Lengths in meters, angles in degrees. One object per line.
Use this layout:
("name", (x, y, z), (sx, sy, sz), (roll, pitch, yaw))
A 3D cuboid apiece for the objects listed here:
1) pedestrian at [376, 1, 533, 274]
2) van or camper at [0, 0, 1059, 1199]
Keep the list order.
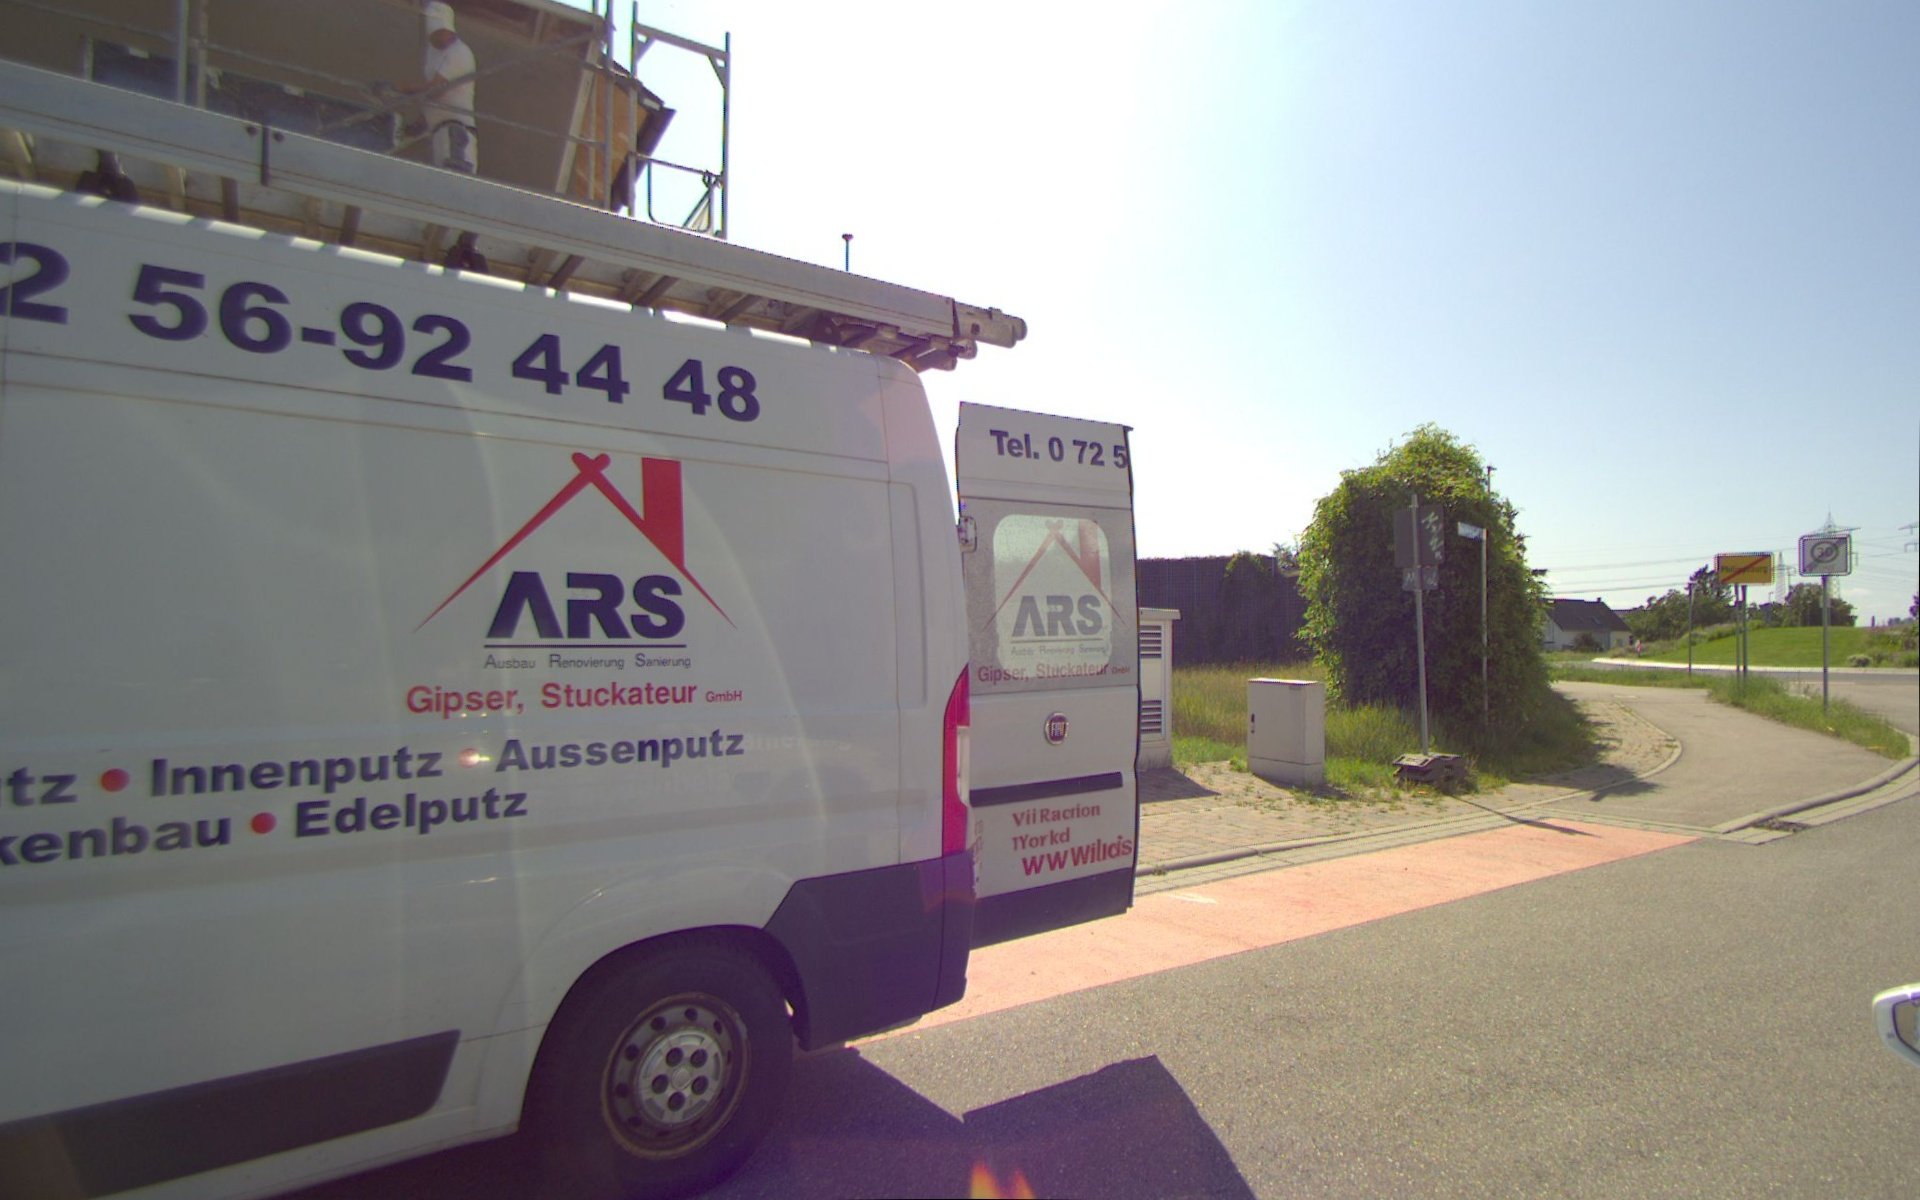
("pedestrian", (-3.581, -3.240, 7.163), (0.552, 1.519, 0.748), (1, -3, 23))
("van or camper", (-2.878, 0.202, 2.348), (6.307, 2.586, 2.257), (3, -3, -36))
